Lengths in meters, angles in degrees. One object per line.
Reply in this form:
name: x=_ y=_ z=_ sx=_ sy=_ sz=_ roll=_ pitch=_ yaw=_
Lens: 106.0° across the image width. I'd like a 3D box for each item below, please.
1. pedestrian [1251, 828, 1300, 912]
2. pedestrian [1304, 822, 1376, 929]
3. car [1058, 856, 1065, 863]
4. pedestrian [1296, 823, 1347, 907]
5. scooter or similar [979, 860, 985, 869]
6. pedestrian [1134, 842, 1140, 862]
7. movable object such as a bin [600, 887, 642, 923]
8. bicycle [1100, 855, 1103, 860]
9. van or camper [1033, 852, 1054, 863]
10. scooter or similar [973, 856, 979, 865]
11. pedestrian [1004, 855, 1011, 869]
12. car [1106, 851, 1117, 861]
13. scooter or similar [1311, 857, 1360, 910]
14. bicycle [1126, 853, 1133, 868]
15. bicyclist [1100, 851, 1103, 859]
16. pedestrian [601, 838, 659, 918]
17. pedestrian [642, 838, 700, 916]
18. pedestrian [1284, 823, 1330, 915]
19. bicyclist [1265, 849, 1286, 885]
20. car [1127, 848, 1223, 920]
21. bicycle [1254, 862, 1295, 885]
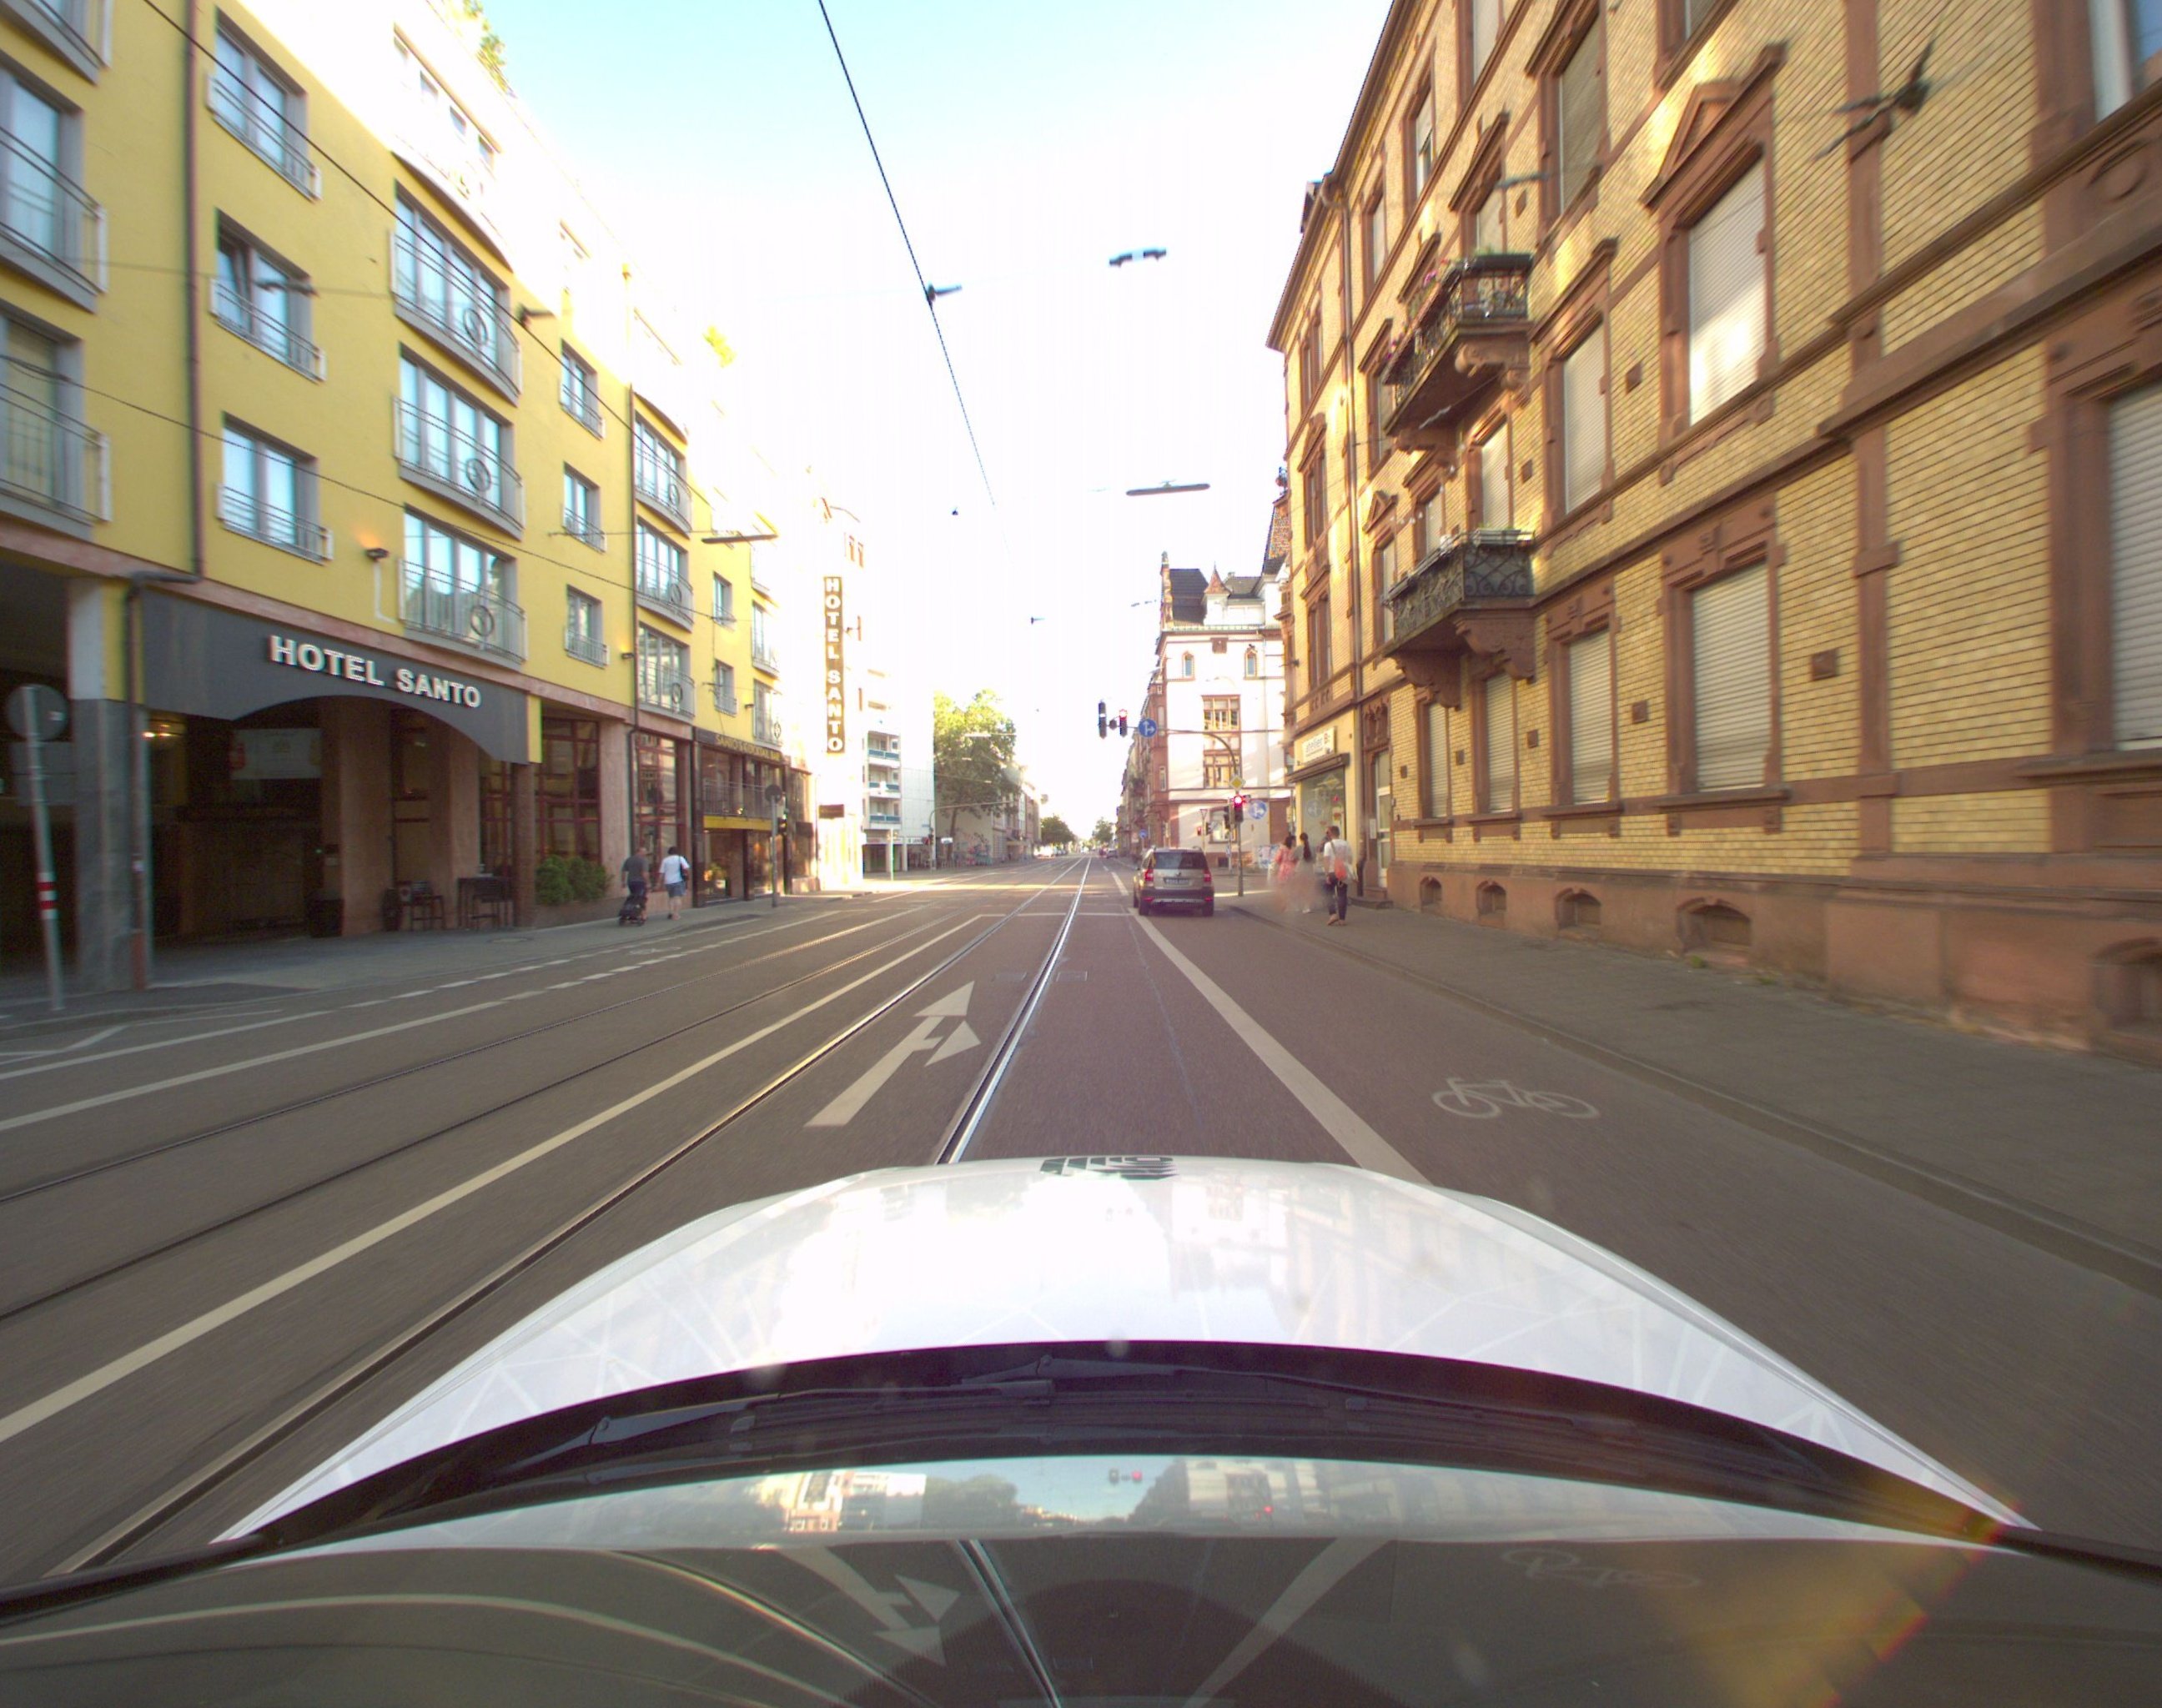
pedestrian: x=4.383 y=0.352 z=18.381 sx=0.803 sy=1.800 sz=0.761 roll=-4 pitch=0 yaw=-1
pedestrian: x=4.650 y=0.365 z=14.688 sx=0.803 sy=1.800 sz=1.091 roll=-4 pitch=0 yaw=-1
car: x=-6.082 y=1.630 z=253.149 sx=1.987 sy=2.013 sz=3.999 roll=0 pitch=0 yaw=0
pedestrian: x=5.411 y=0.242 z=18.324 sx=0.803 sy=1.800 sz=0.761 roll=-4 pitch=0 yaw=0
scooter or similar: x=-11.334 y=1.219 z=93.094 sx=0.515 sy=1.057 sz=1.477 roll=0 pitch=0 yaw=-1
pedestrian: x=4.983 y=-0.146 z=72.821 sx=0.542 sy=1.780 sz=0.504 roll=0 pitch=0 yaw=1
movable object such as a bin: x=-10.210 y=1.114 z=18.081 sx=0.382 sy=0.716 sz=0.841 roll=4 pitch=0 yaw=2
bicycle: x=3.953 y=0.623 z=158.816 sx=0.573 sy=1.030 sz=1.896 roll=0 pitch=0 yaw=2
van or camper: x=-8.888 y=0.854 z=191.852 sx=4.664 sy=2.563 sz=1.981 roll=1 pitch=-1 yaw=-31
scooter or similar: x=-12.019 y=0.780 z=93.061 sx=0.515 sy=1.045 sz=1.477 roll=0 pitch=0 yaw=-1
pedestrian: x=-9.057 y=0.954 z=100.466 sx=0.699 sy=1.728 sz=0.648 roll=0 pitch=0 yaw=0
car: x=5.307 y=0.339 z=141.883 sx=1.943 sy=1.684 sz=4.002 roll=0 pitch=0 yaw=2
scooter or similar: x=5.512 y=0.633 z=17.662 sx=0.802 sy=1.070 sz=0.521 roll=-5 pitch=0 yaw=0
bicycle: x=4.309 y=0.587 z=72.506 sx=0.650 sy=1.323 sz=2.178 roll=0 pitch=0 yaw=3
bicyclist: x=3.948 y=0.232 z=158.814 sx=0.573 sy=1.554 sz=0.595 roll=0 pitch=0 yaw=1
pedestrian: x=-10.453 y=0.540 z=18.900 sx=0.795 sy=1.771 sz=0.749 roll=4 pitch=0 yaw=0
pedestrian: x=-9.971 y=0.544 z=19.856 sx=0.749 sy=1.818 sz=1.046 roll=4 pitch=0 yaw=0
pedestrian: x=4.889 y=0.317 z=17.655 sx=0.688 sy=1.908 sz=0.670 roll=-4 pitch=0 yaw=-1
bicyclist: x=8.937 y=0.600 z=37.462 sx=0.732 sy=1.634 sz=0.612 roll=1 pitch=-2 yaw=38
car: x=2.279 y=0.698 z=20.752 sx=1.987 sy=1.618 sz=4.000 roll=1 pitch=0 yaw=0
bicycle: x=8.900 y=0.893 z=37.426 sx=1.698 sy=1.034 sz=0.602 roll=1 pitch=-2 yaw=36
